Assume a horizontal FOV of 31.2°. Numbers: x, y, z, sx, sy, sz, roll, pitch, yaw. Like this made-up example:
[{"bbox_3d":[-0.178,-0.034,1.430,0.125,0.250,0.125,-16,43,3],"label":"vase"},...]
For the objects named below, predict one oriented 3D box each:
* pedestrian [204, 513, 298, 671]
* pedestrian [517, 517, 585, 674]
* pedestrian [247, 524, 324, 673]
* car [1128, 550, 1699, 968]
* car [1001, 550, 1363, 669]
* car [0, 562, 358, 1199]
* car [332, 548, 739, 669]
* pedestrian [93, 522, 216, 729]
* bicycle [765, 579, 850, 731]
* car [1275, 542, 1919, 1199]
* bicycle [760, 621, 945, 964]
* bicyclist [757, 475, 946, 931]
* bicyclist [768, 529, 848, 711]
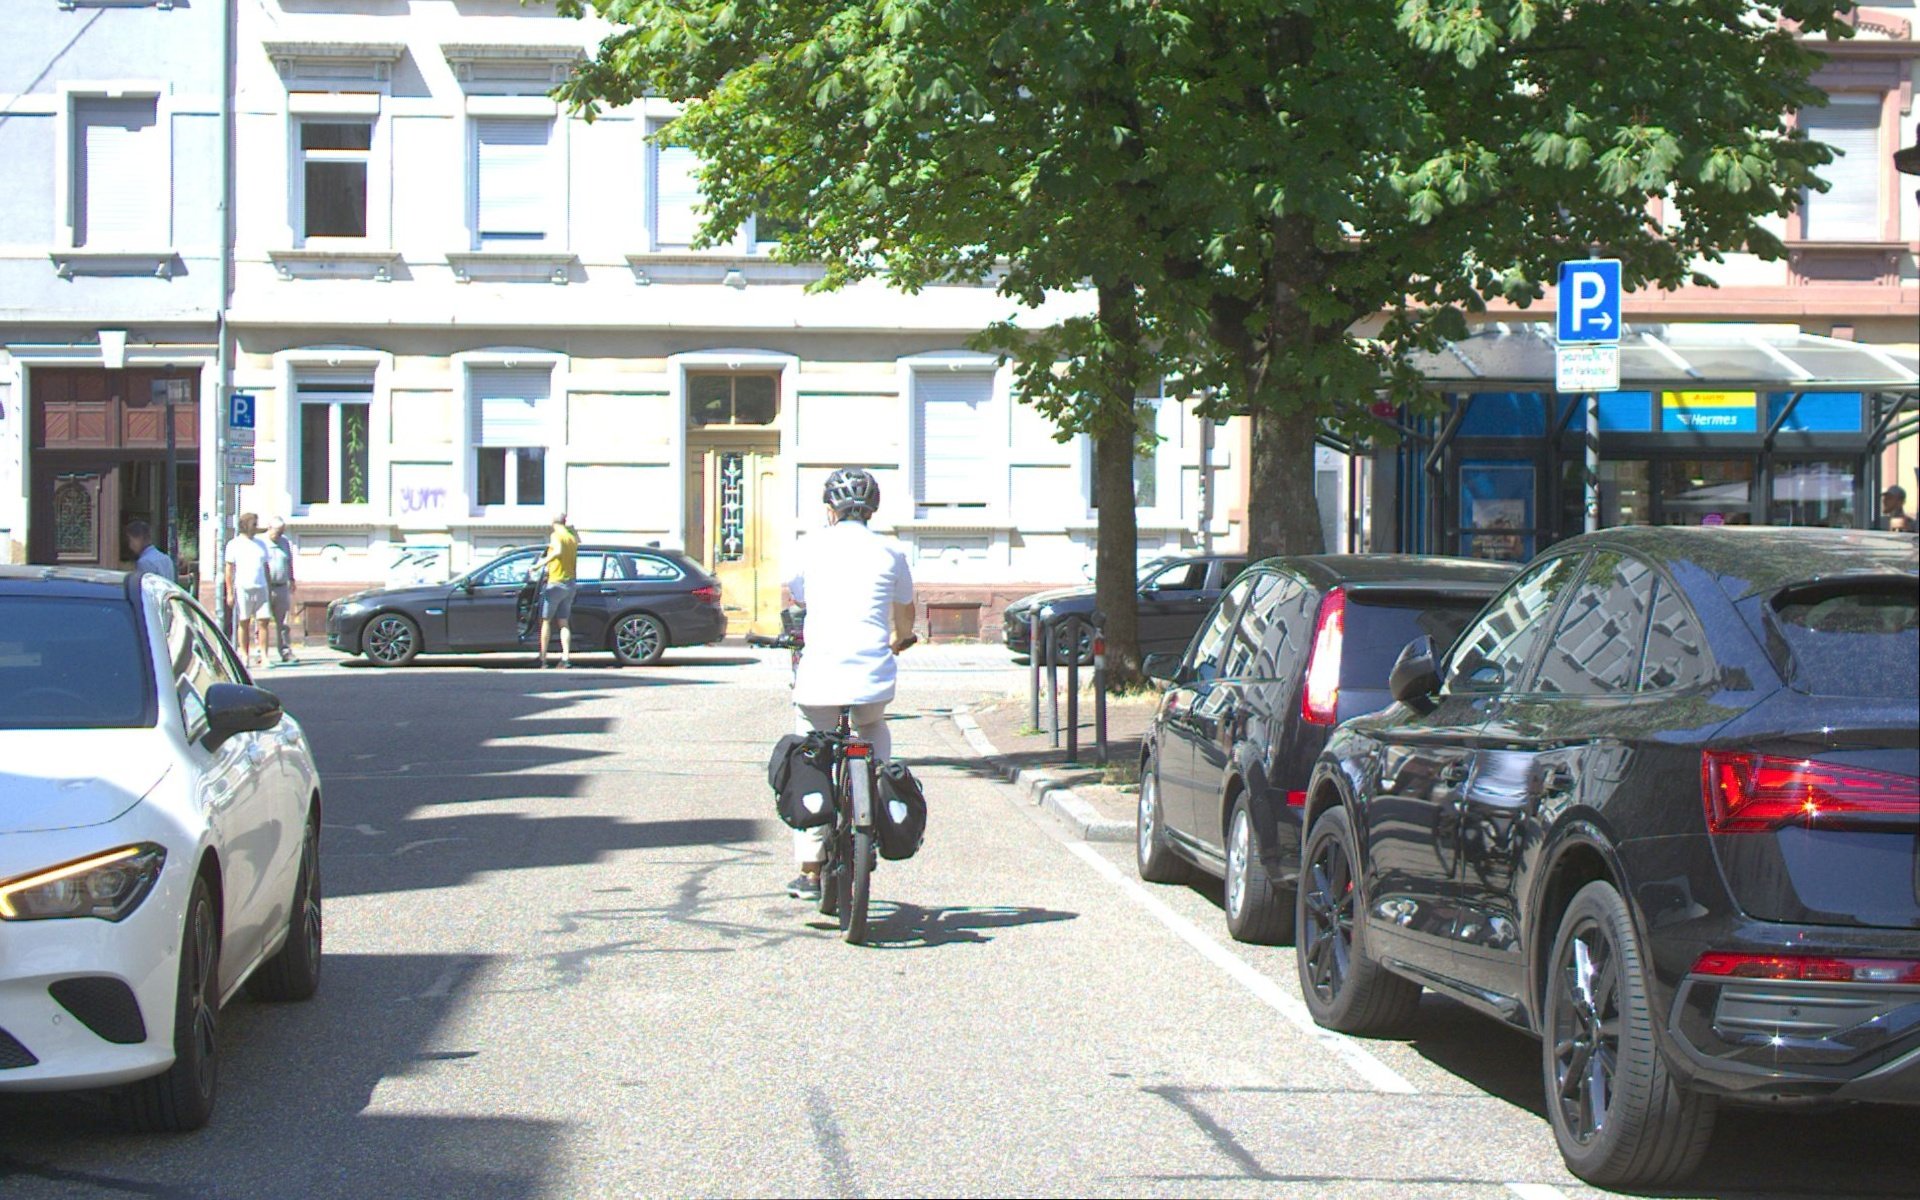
[{"bbox_3d":[-8.548,-0.104,41.476,0.850,1.882,0.935,0,1,7],"label":"pedestrian"},{"bbox_3d":[-4.890,-0.059,41.061,0.724,1.847,0.685,0,1,-13],"label":"pedestrian"},{"bbox_3d":[-8.330,-0.027,42.484,0.901,1.808,0.960,0,1,-9],"label":"pedestrian"},{"bbox_3d":[1.843,0.582,15.258,1.663,1.535,4.178,2,1,-4],"label":"car"},{"bbox_3d":[2.727,0.104,42.917,4.293,1.365,1.807,0,3,-4],"label":"car"},{"bbox_3d":[-2.884,0.652,9.768,1.841,1.456,4.363,-2,1,-4],"label":"car"},{"bbox_3d":[-5.166,0.085,42.327,4.858,1.432,2.000,0,1,-4],"label":"car"},{"bbox_3d":[-6.586,0.202,28.139,0.857,1.666,0.774,0,1,-4],"label":"pedestrian"},{"bbox_3d":[-1.314,0.446,29.432,0.651,1.205,2.442,2,1,-3],"label":"bicycle"},{"bbox_3d":[2.229,0.671,9.618,1.735,1.591,4.349,2,1,-7],"label":"car"},{"bbox_3d":[-0.474,0.731,14.141,0.651,1.224,2.442,2,1,-3],"label":"bicycle"},{"bbox_3d":[-0.436,0.397,13.703,0.670,1.754,0.609,2,0,-3],"label":"bicyclist"},{"bbox_3d":[-1.292,0.166,29.256,0.670,1.528,0.609,0,1,-3],"label":"bicyclist"}]
